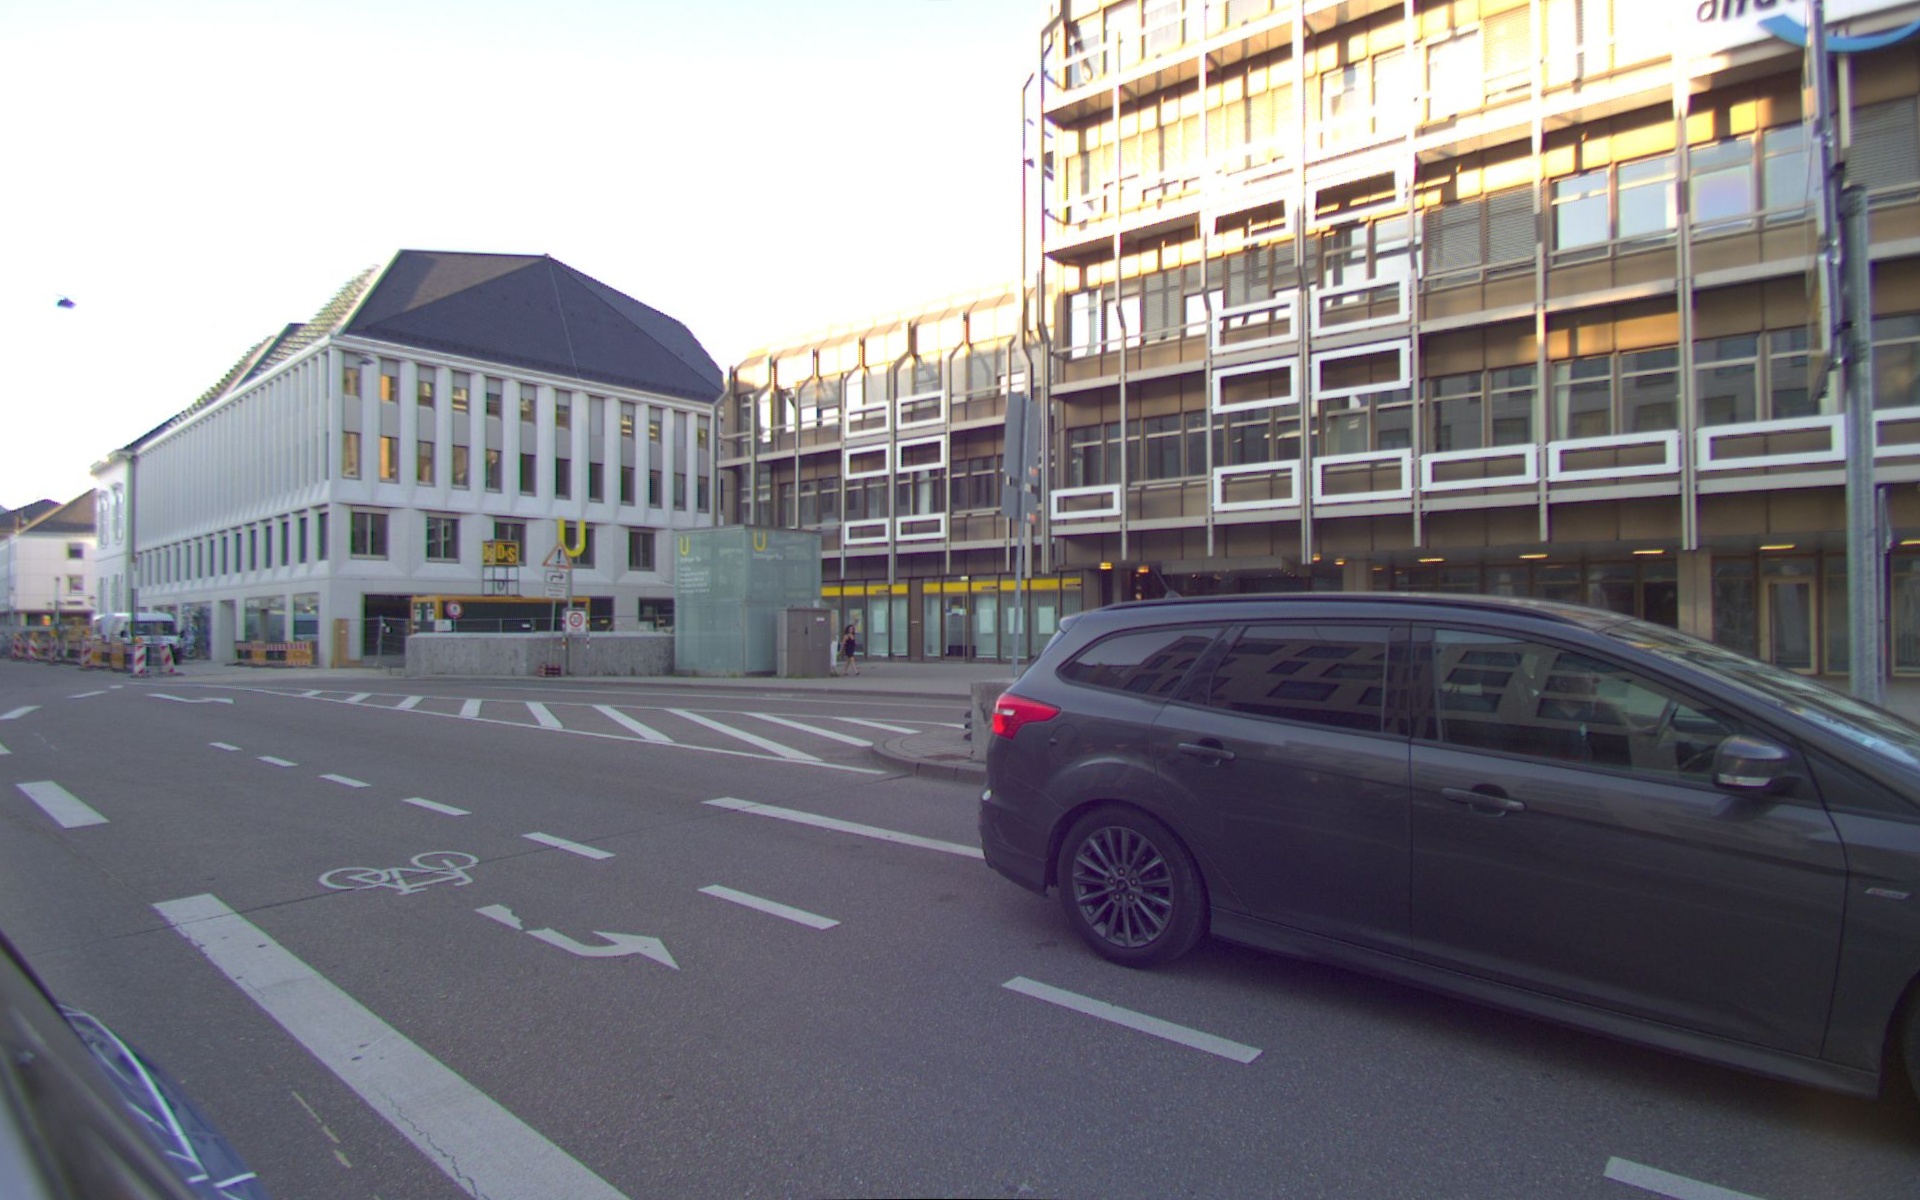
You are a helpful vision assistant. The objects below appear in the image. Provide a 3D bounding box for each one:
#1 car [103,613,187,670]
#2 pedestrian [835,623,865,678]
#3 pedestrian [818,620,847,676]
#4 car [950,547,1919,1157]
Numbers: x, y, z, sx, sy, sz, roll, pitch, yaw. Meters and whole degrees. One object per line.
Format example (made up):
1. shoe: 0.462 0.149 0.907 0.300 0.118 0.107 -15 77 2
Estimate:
1. car: -38.839 1.955 48.164 6.047 2.575 2.114 -2 -3 41
2. pedestrian: -3.345 1.524 30.749 0.702 1.652 0.608 -2 -3 41
3. pedestrian: -3.805 1.424 30.194 0.583 1.652 0.662 -2 -3 41
4. car: 2.192 0.623 3.691 4.377 1.473 1.740 -2 -1 40
